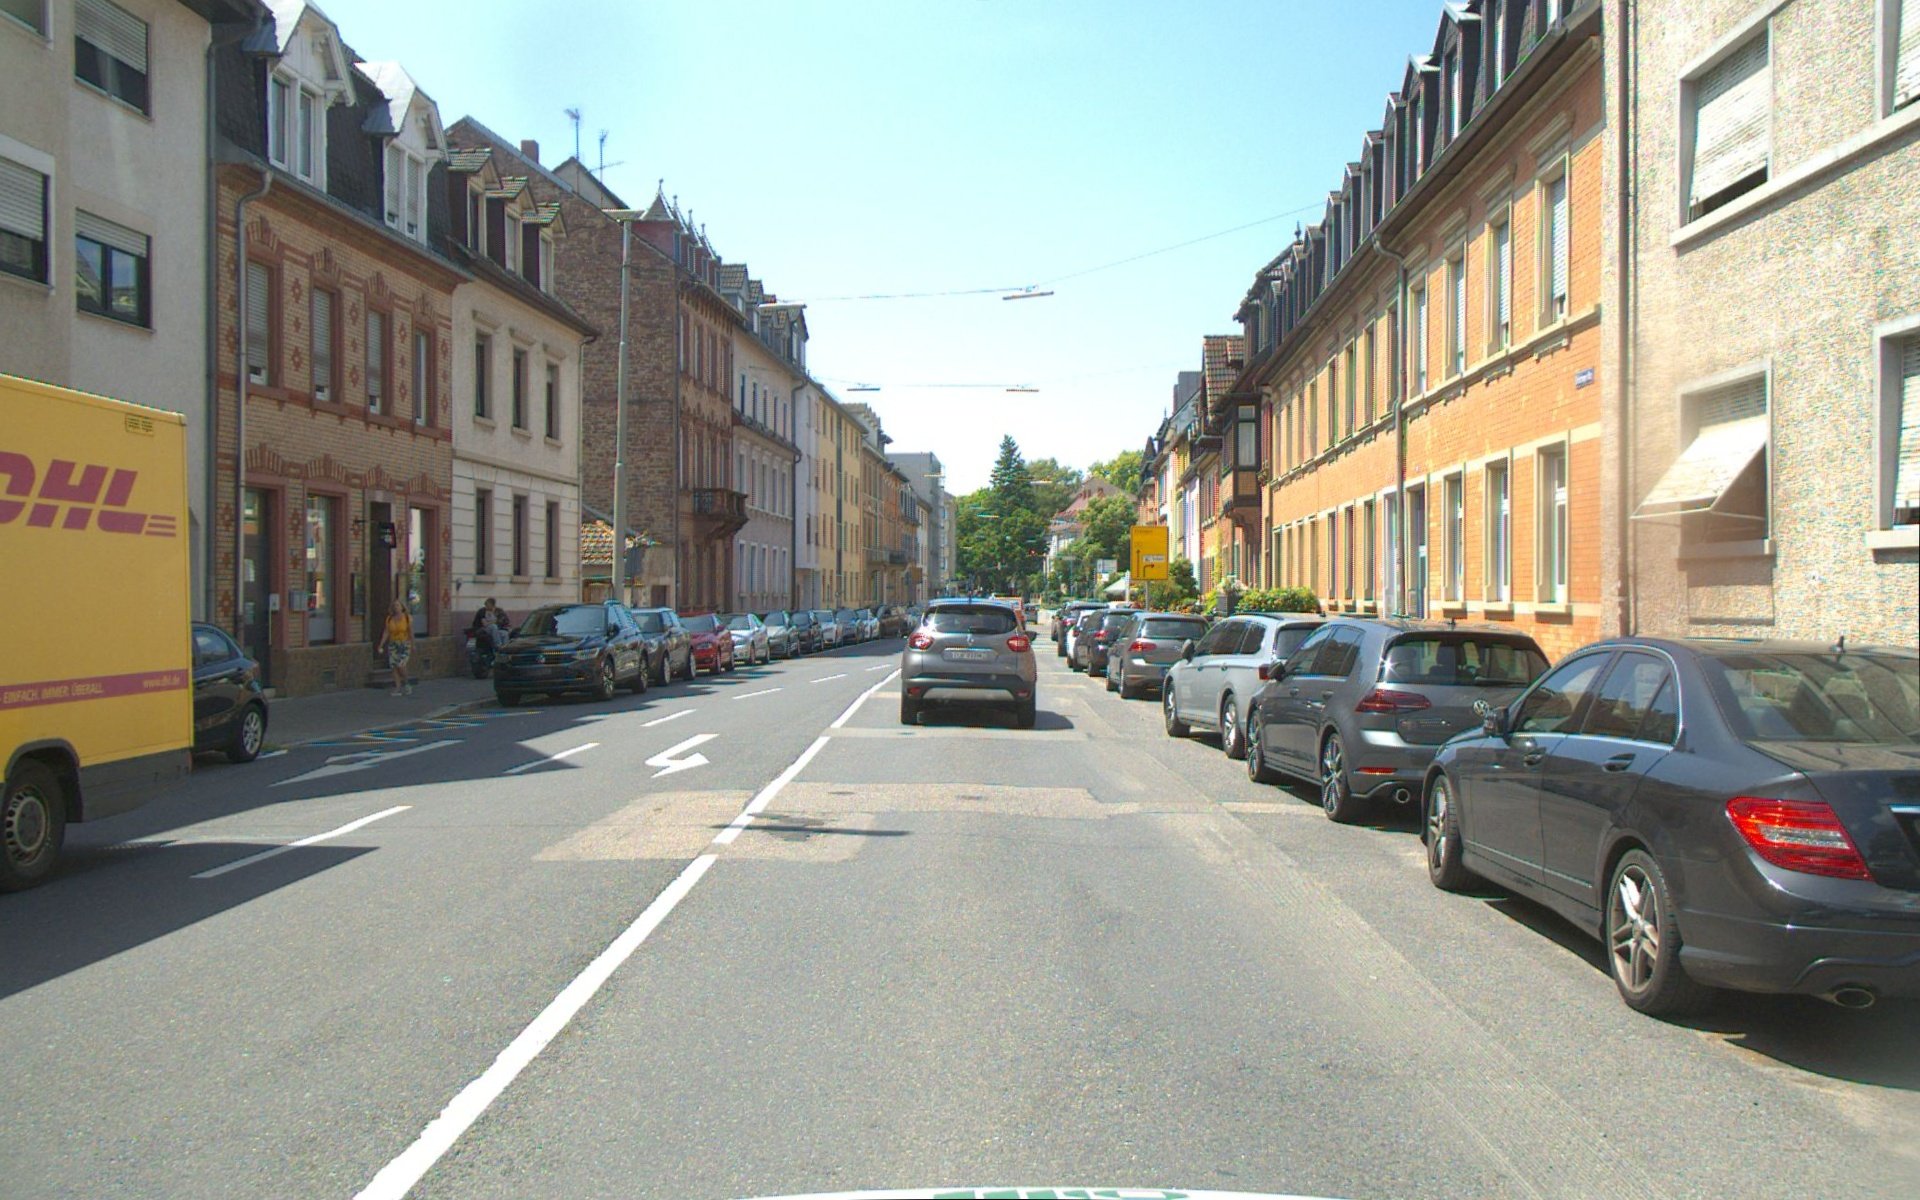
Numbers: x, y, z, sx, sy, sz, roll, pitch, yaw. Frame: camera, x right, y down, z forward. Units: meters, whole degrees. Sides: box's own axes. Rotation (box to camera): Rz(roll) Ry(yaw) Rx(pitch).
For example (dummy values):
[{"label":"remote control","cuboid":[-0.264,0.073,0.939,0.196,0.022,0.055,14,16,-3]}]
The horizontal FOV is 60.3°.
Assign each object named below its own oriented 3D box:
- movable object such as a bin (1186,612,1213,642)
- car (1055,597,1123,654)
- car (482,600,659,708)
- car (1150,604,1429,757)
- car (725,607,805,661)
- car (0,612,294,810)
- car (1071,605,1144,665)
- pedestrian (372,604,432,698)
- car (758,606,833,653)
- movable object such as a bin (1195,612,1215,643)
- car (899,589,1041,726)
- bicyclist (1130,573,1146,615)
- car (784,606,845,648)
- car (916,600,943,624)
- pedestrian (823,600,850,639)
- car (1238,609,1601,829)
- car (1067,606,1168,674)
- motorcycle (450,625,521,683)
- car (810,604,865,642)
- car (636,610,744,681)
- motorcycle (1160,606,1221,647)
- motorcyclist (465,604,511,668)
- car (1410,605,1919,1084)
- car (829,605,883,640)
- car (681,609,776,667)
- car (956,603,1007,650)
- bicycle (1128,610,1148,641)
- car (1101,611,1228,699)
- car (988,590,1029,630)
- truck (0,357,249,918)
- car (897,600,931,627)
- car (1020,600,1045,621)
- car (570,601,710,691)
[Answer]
[{"label":"movable object such as a bin","cuboid":[7.547,0.856,52.149,0.772,0.923,0.539,-1,0,-1]},{"label":"car","cuboid":[4.002,0.773,52.041,1.952,1.691,4.626,-1,0,2]},{"label":"car","cuboid":[-6.539,0.871,28.255,1.802,1.624,4.503,-2,-1,2]},{"label":"car","cuboid":[3.487,0.803,18.393,1.818,1.489,4.545,1,0,-5]},{"label":"car","cuboid":[-5.979,1.036,51.200,1.802,1.447,4.502,-5,-1,1]},{"label":"car","cuboid":[-8.065,0.904,15.495,1.802,1.514,4.501,2,0,0]},{"label":"car","cuboid":[3.765,0.869,42.804,1.680,1.439,4.591,-1,0,3]},{"label":"pedestrian","cuboid":[-9.242,0.827,27.409,0.595,1.521,0.971,1,0,2]},{"label":"car","cuboid":[-5.617,0.980,57.061,1.801,1.447,4.504,-4,-1,3]},{"label":"movable object such as a bin","cuboid":[8.617,0.970,58.172,0.645,1.073,0.749,0,0,3]},{"label":"car","cuboid":[0.081,0.704,22.192,1.708,1.645,3.999,1,0,-1]},{"label":"bicyclist","cuboid":[6.481,-0.213,60.124,0.521,1.495,0.791,-1,0,3]},{"label":"car","cuboid":[-5.439,1.016,62.318,1.802,1.447,4.502,-2,-1,0]},{"label":"car","cuboid":[-2.187,0.856,119.102,1.866,1.648,4.301,-2,0,-1]},{"label":"pedestrian","cuboid":[-5.735,0.914,76.891,1.127,1.780,0.970,0,0,4]},{"label":"car","cuboid":[3.432,0.808,13.133,1.618,1.445,4.046,0,0,-2]},{"label":"car","cuboid":[3.518,0.877,37.693,1.615,1.439,4.498,1,0,-3]},{"label":"motorcycle","cuboid":[-9.451,1.061,33.001,0.827,1.097,1.872,0,0,2]},{"label":"car","cuboid":[-5.018,0.949,68.243,1.802,1.447,4.646,-2,-1,0]},{"label":"car","cuboid":[-6.253,1.016,38.752,1.802,1.447,4.501,-3,0,-1]},{"label":"motorcycle","cuboid":[8.480,0.960,60.909,2.085,1.433,0.938,-2,-1,2]},{"label":"motorcyclist","cuboid":[-9.448,0.709,33.151,0.703,1.270,0.712,0,0,1]},{"label":"car","cuboid":[3.456,0.784,7.477,1.676,1.499,4.438,0,0,1]},{"label":"car","cuboid":[-4.627,0.993,74.016,1.801,1.447,4.560,-3,-1,4]},{"label":"car","cuboid":[-6.289,1.013,45.340,1.802,1.447,4.503,-2,-1,2]},{"label":"car","cuboid":[0.812,0.951,61.745,1.775,1.649,4.442,-2,0,1]},{"label":"bicycle","cuboid":[6.467,0.912,60.082,0.581,1.085,1.883,-1,0,3]},{"label":"car","cuboid":[3.475,0.900,28.747,1.666,1.405,4.166,0,0,0]},{"label":"car","cuboid":[2.623,0.521,88.363,1.952,2.049,4.468,-1,0,4]},{"label":"truck","cuboid":[-5.942,0.210,7.245,2.179,2.819,7.565,-2,0,1]},{"label":"car","cuboid":[-2.954,0.883,107.430,1.865,1.648,4.303,-2,0,2]},{"label":"car","cuboid":[5.519,0.791,125.541,1.726,1.587,3.944,0,0,4]},{"label":"car","cuboid":[-6.520,0.899,34.187,1.802,1.624,4.503,-4,-1,2]}]
